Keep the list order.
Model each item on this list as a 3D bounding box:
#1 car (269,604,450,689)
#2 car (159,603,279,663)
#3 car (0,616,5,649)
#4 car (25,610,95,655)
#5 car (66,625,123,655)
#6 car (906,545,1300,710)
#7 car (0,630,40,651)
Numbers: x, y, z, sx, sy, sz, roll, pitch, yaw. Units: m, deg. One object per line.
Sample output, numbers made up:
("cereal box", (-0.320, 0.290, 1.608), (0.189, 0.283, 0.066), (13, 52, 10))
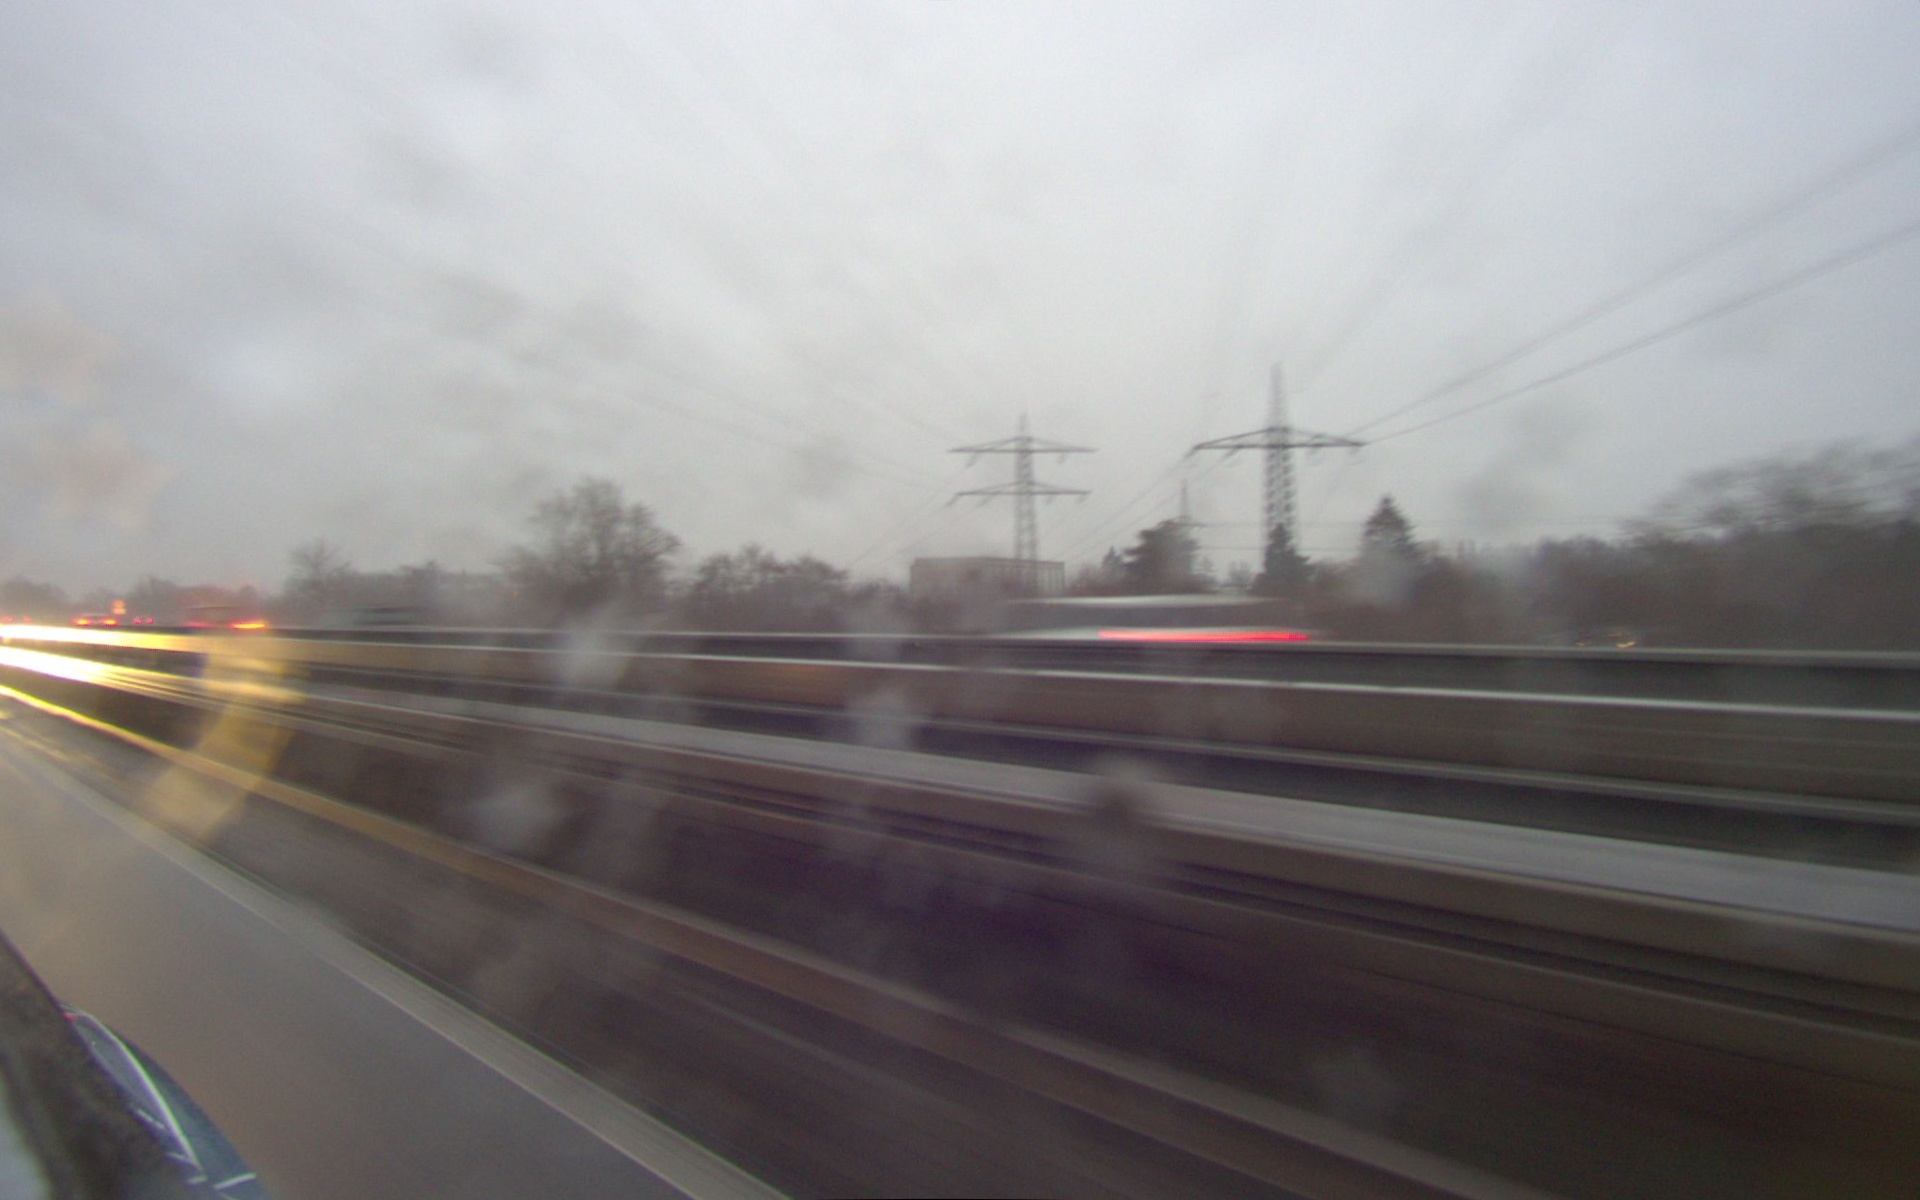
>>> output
("car", (-12.077, 0.863, 20.277), (3.998, 1.521, 1.973), (-1, -1, 41))
("car", (-22.792, 0.980, 31.073), (4.397, 1.724, 2.049), (-1, -1, 41))
("car", (-65.382, 2.166, 67.440), (4.759, 2.130, 2.049), (-1, -1, 41))
("car", (-45.032, 1.612, 50.611), (4.759, 2.130, 2.049), (-1, -1, 41))
("car", (-53.663, 2.445, 62.720), (4.337, 1.805, 2.049), (-1, -1, 41))
("car", (1.756, 0.339, 13.485), (4.806, 1.805, 2.142), (-1, -1, 41))
("car", (-82.437, 3.518, 88.752), (4.845, 1.805, 2.049), (-1, -1, 41))
